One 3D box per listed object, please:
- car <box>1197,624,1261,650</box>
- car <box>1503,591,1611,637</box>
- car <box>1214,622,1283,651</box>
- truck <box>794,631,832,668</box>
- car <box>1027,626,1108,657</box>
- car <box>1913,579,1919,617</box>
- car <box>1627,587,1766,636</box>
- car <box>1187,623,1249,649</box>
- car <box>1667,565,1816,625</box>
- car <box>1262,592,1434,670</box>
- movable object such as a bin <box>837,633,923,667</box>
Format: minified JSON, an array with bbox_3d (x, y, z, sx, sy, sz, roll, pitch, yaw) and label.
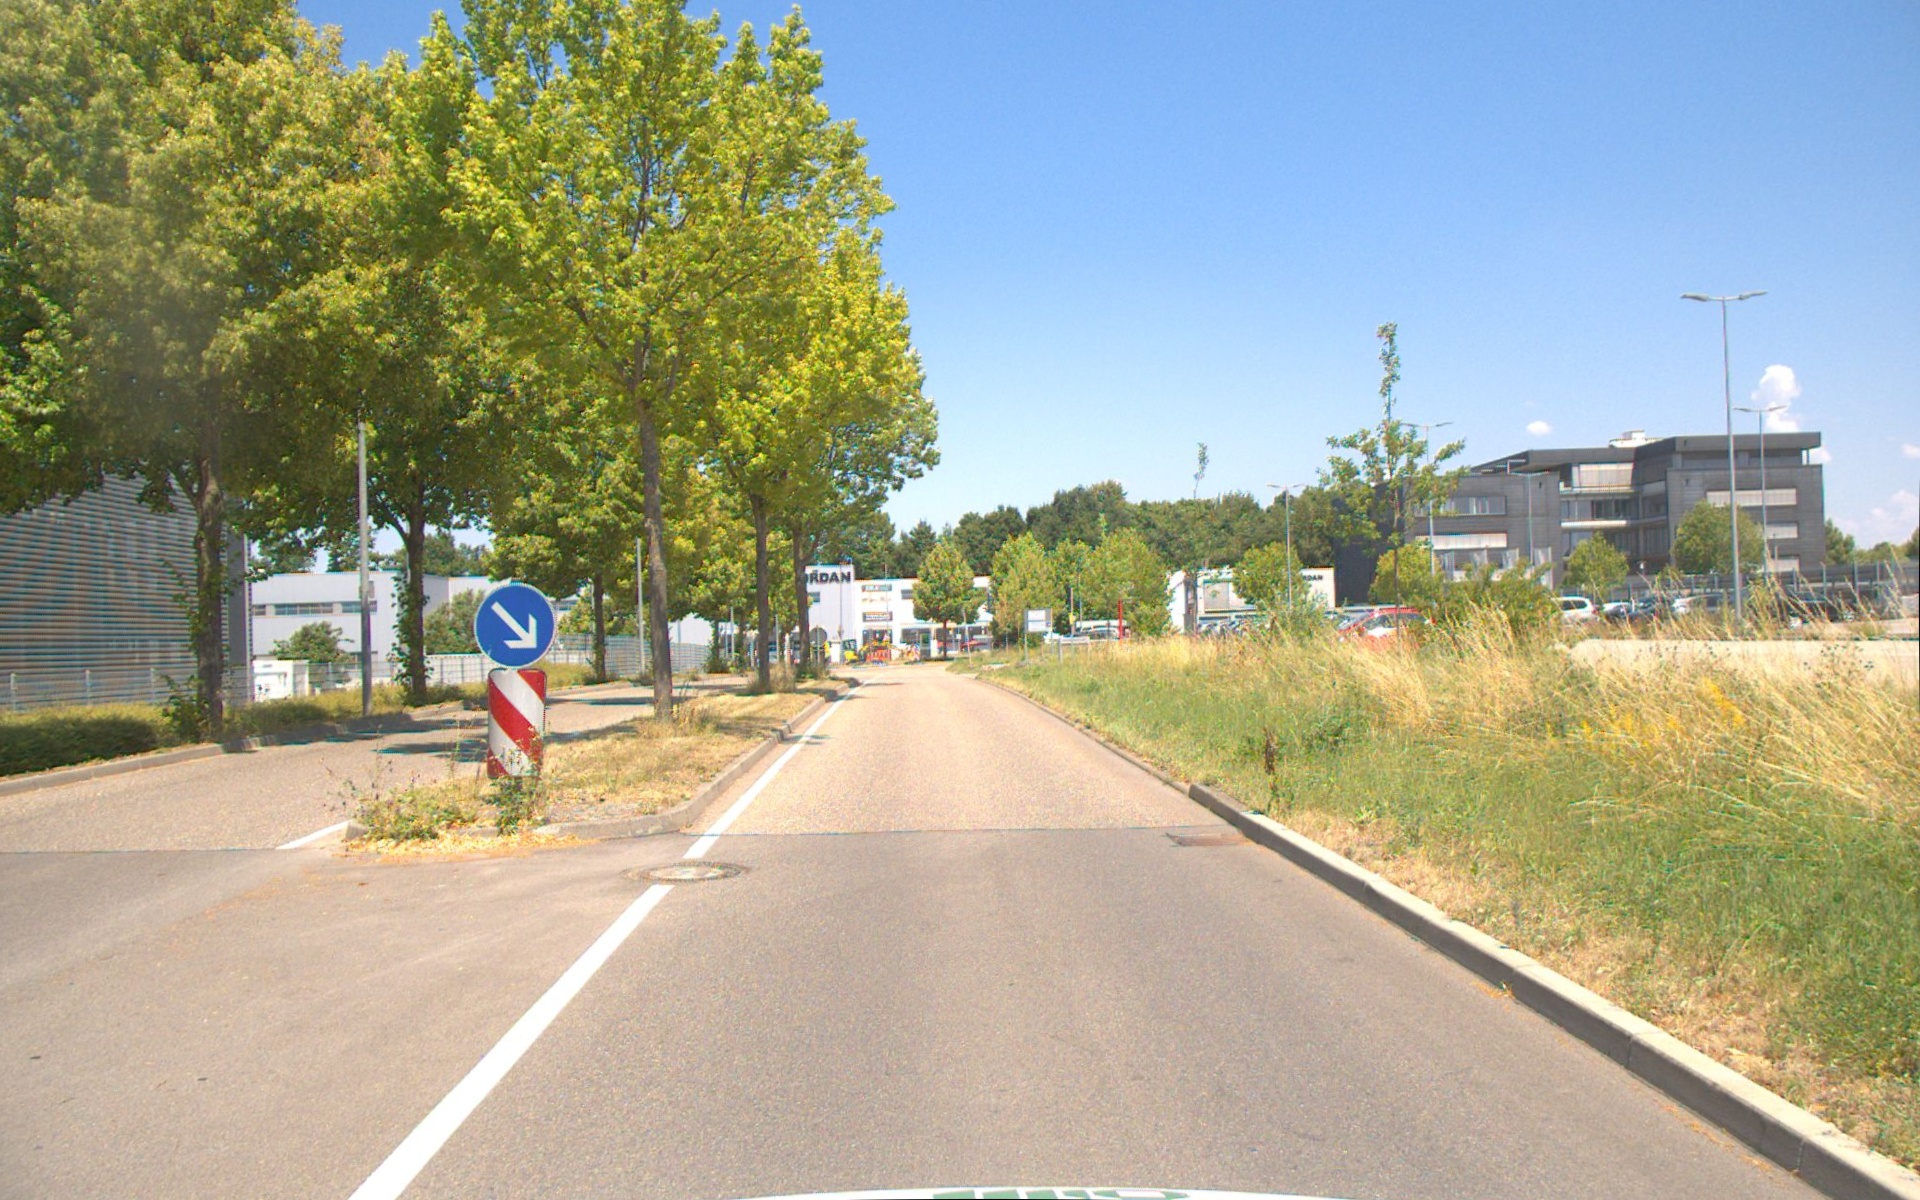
[{"bbox_3d":[18.129,2.472,111.640,3.911,1.424,1.767,-4,2,-6],"label":"car"},{"bbox_3d":[25.554,0.598,70.831,3.911,1.623,1.767,-4,2,-6],"label":"car"},{"bbox_3d":[18.273,2.305,104.917,3.911,1.516,1.767,-4,2,-6],"label":"car"},{"bbox_3d":[-13.623,4.504,152.905,2.886,2.935,5.795,-4,2,-10],"label":"truck"},{"bbox_3d":[6.374,2.474,98.238,4.608,1.424,1.922,-4,2,0],"label":"car"},{"bbox_3d":[36.370,-0.195,58.896,3.912,1.364,1.693,-3,-2,-7],"label":"car"},{"bbox_3d":[25.655,0.420,57.701,3.907,1.420,1.926,-3,-2,-2],"label":"car"},{"bbox_3d":[17.836,2.500,114.419,3.911,1.424,1.767,-4,2,-6],"label":"car"},{"bbox_3d":[25.662,-0.142,54.365,3.907,1.670,1.926,-3,-2,-2],"label":"car"},{"bbox_3d":[10.039,0.806,42.986,3.907,1.754,1.926,-3,-2,-2],"label":"car"},{"bbox_3d":[-7.390,4.610,153.095,7.367,2.543,3.669,-4,2,6],"label":"movable object such as a bin"}]
